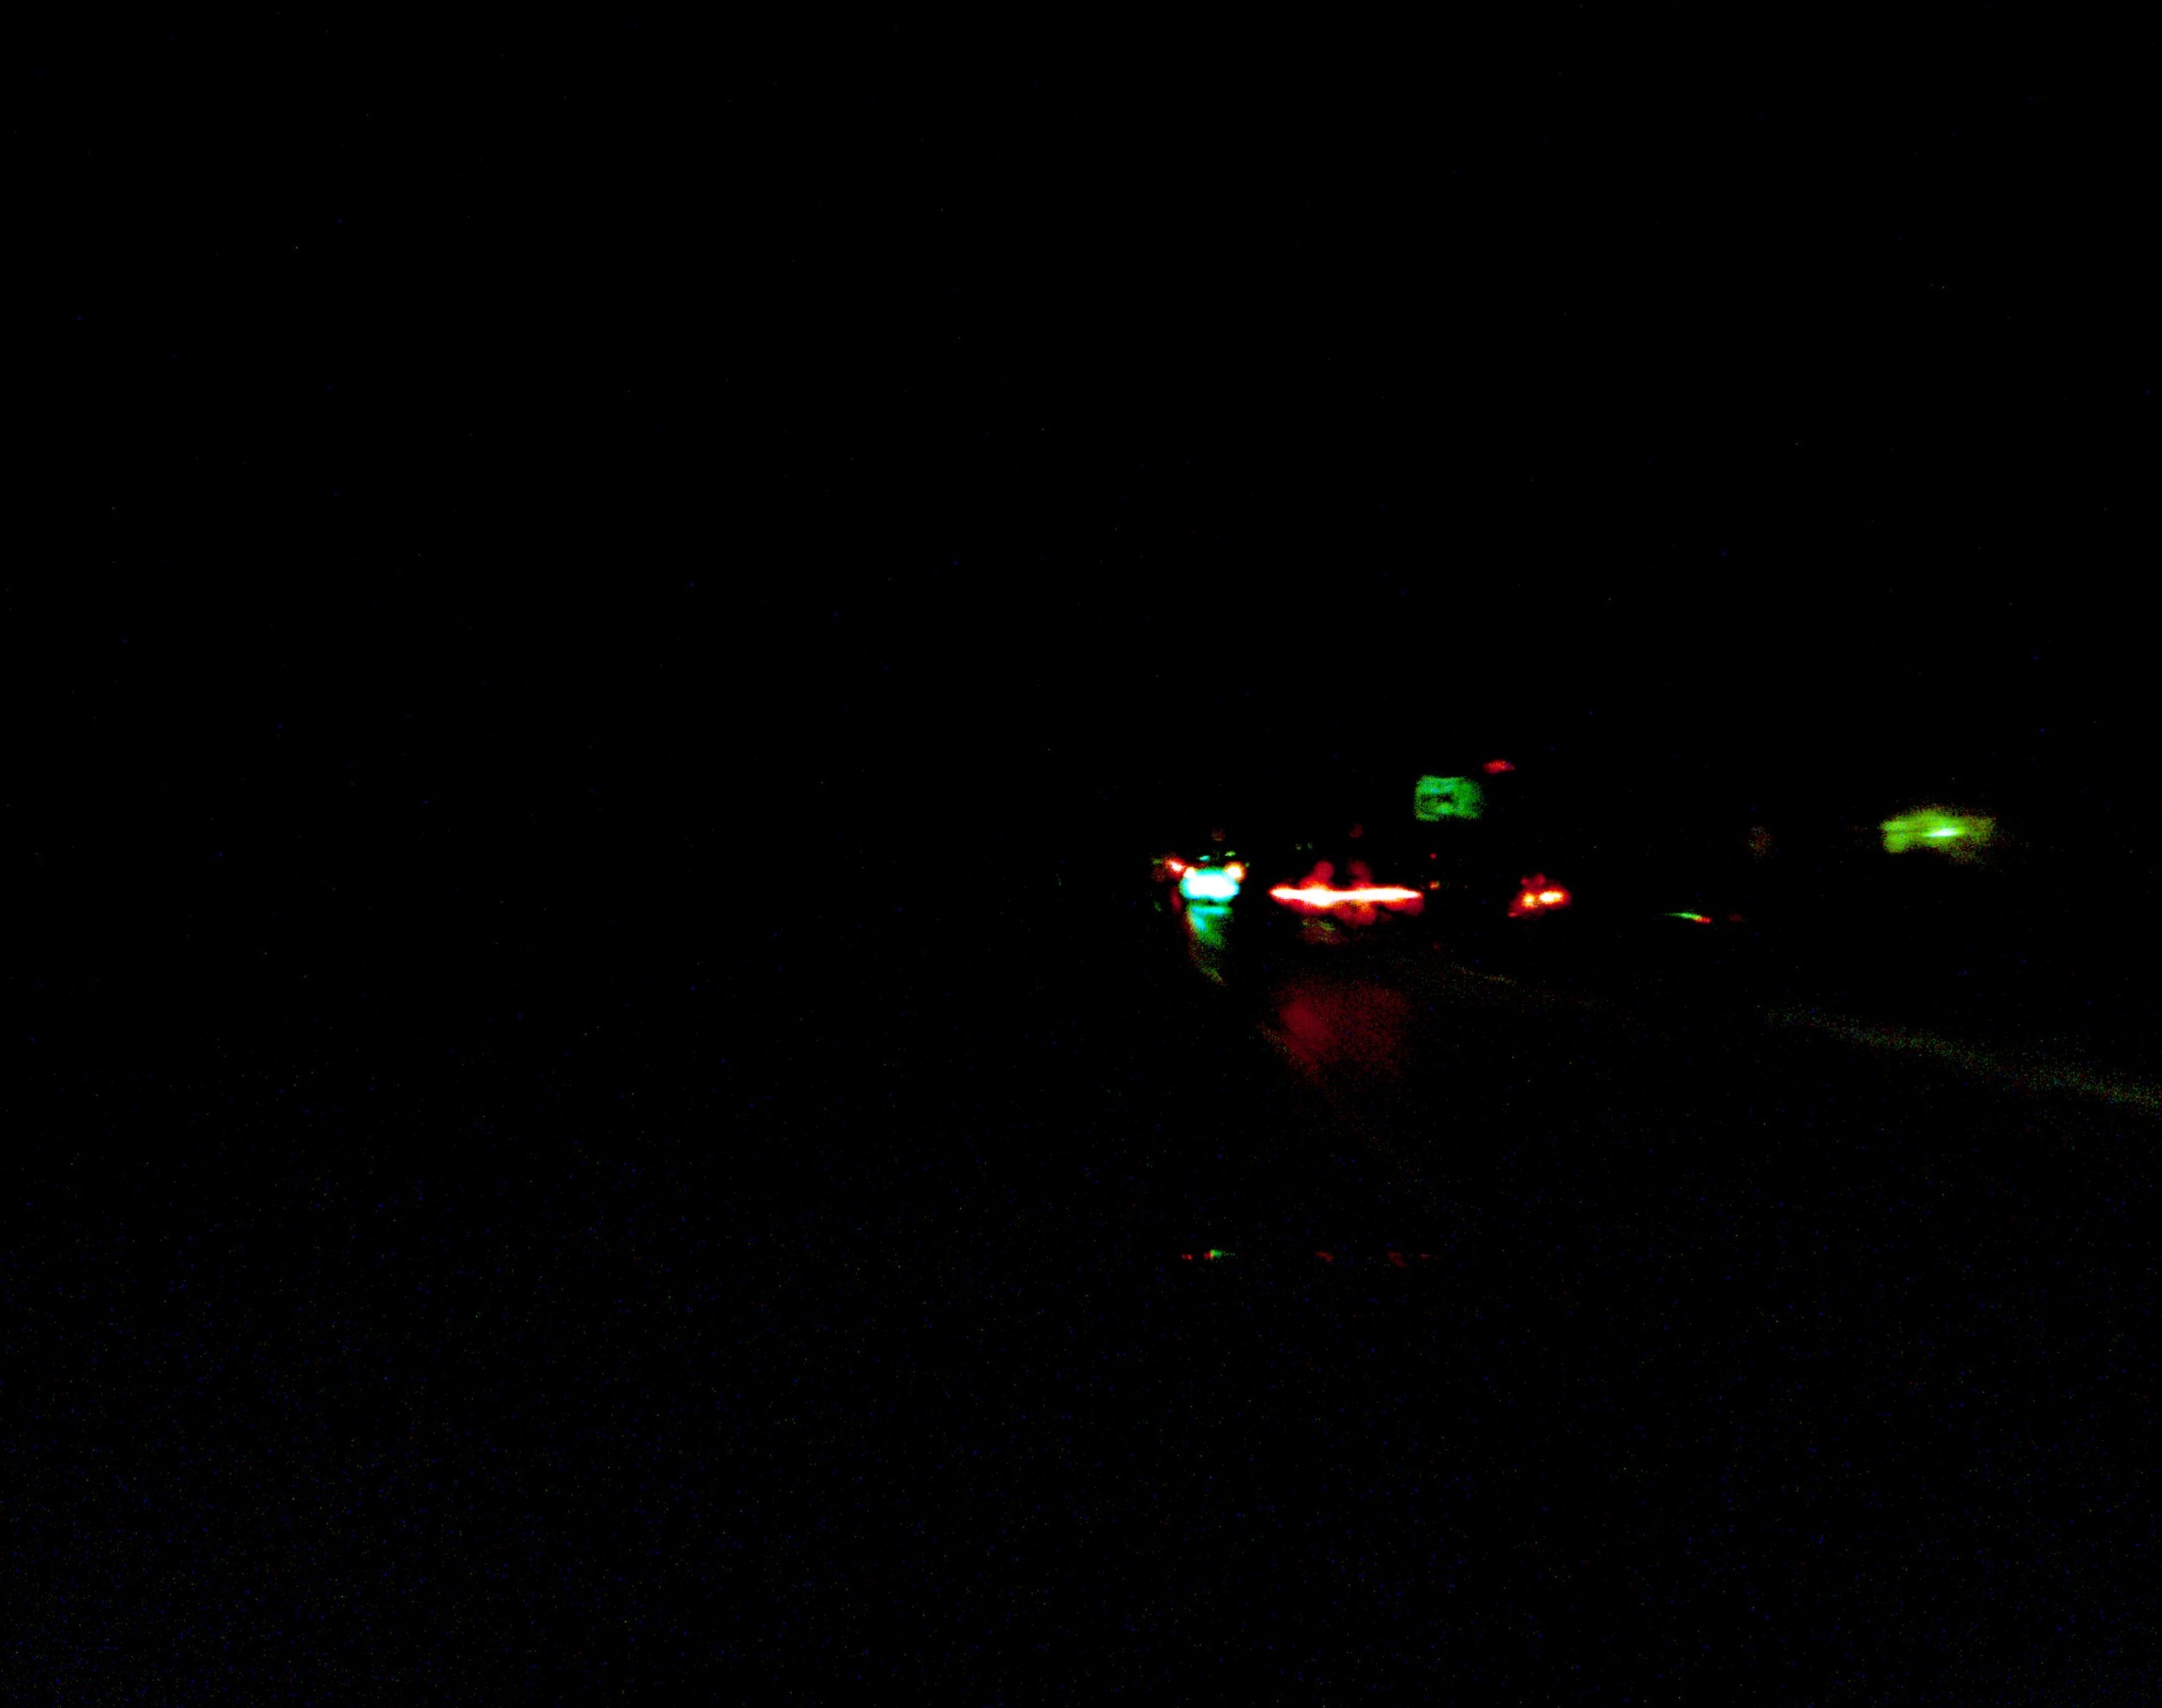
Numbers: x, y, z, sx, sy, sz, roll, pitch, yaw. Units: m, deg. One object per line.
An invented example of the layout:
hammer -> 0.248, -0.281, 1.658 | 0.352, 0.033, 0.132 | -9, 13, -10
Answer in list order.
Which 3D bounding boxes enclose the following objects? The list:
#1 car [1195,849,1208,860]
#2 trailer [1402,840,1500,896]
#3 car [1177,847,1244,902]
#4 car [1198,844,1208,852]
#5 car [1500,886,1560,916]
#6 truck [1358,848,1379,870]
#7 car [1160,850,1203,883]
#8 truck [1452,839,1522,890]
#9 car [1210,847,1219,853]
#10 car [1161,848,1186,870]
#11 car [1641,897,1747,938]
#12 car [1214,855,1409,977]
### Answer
car -> 19.342, 0.040, 121.913 | 1.812, 1.666, 4.294 | -2, 1, 8
trailer -> 35.532, 1.232, 72.688 | 11.575, 4.768, 3.329 | -2, 1, -37
car -> 4.220, 0.625, 25.201 | 1.692, 1.671, 3.467 | -1, 1, 2
car -> 23.332, -1.125, 145.368 | 1.788, 1.470, 3.682 | -2, 1, 11
car -> 31.192, 3.230, 52.919 | 1.812, 1.666, 4.293 | -2, 1, 3
truck -> 48.715, 0.806, 128.853 | 2.759, 3.463, 8.114 | -1, 0, 16
car -> 5.171, 0.589, 39.534 | 1.821, 1.551, 4.178 | -2, 1, 3
truck -> 41.076, 1.022, 76.752 | 7.332, 4.768, 3.329 | -2, 1, -37
car -> 31.281, -0.972, 177.589 | 1.638, 1.511, 3.774 | 0, 1, 15
car -> 7.472, 0.382, 61.871 | 1.792, 1.614, 4.377 | -1, 1, 4
car -> 29.791, 3.029, 37.118 | 1.812, 1.561, 4.293 | -2, 1, 2
car -> 3.391, 0.818, 12.146 | 1.803, 1.511, 4.535 | 0, 1, 1
